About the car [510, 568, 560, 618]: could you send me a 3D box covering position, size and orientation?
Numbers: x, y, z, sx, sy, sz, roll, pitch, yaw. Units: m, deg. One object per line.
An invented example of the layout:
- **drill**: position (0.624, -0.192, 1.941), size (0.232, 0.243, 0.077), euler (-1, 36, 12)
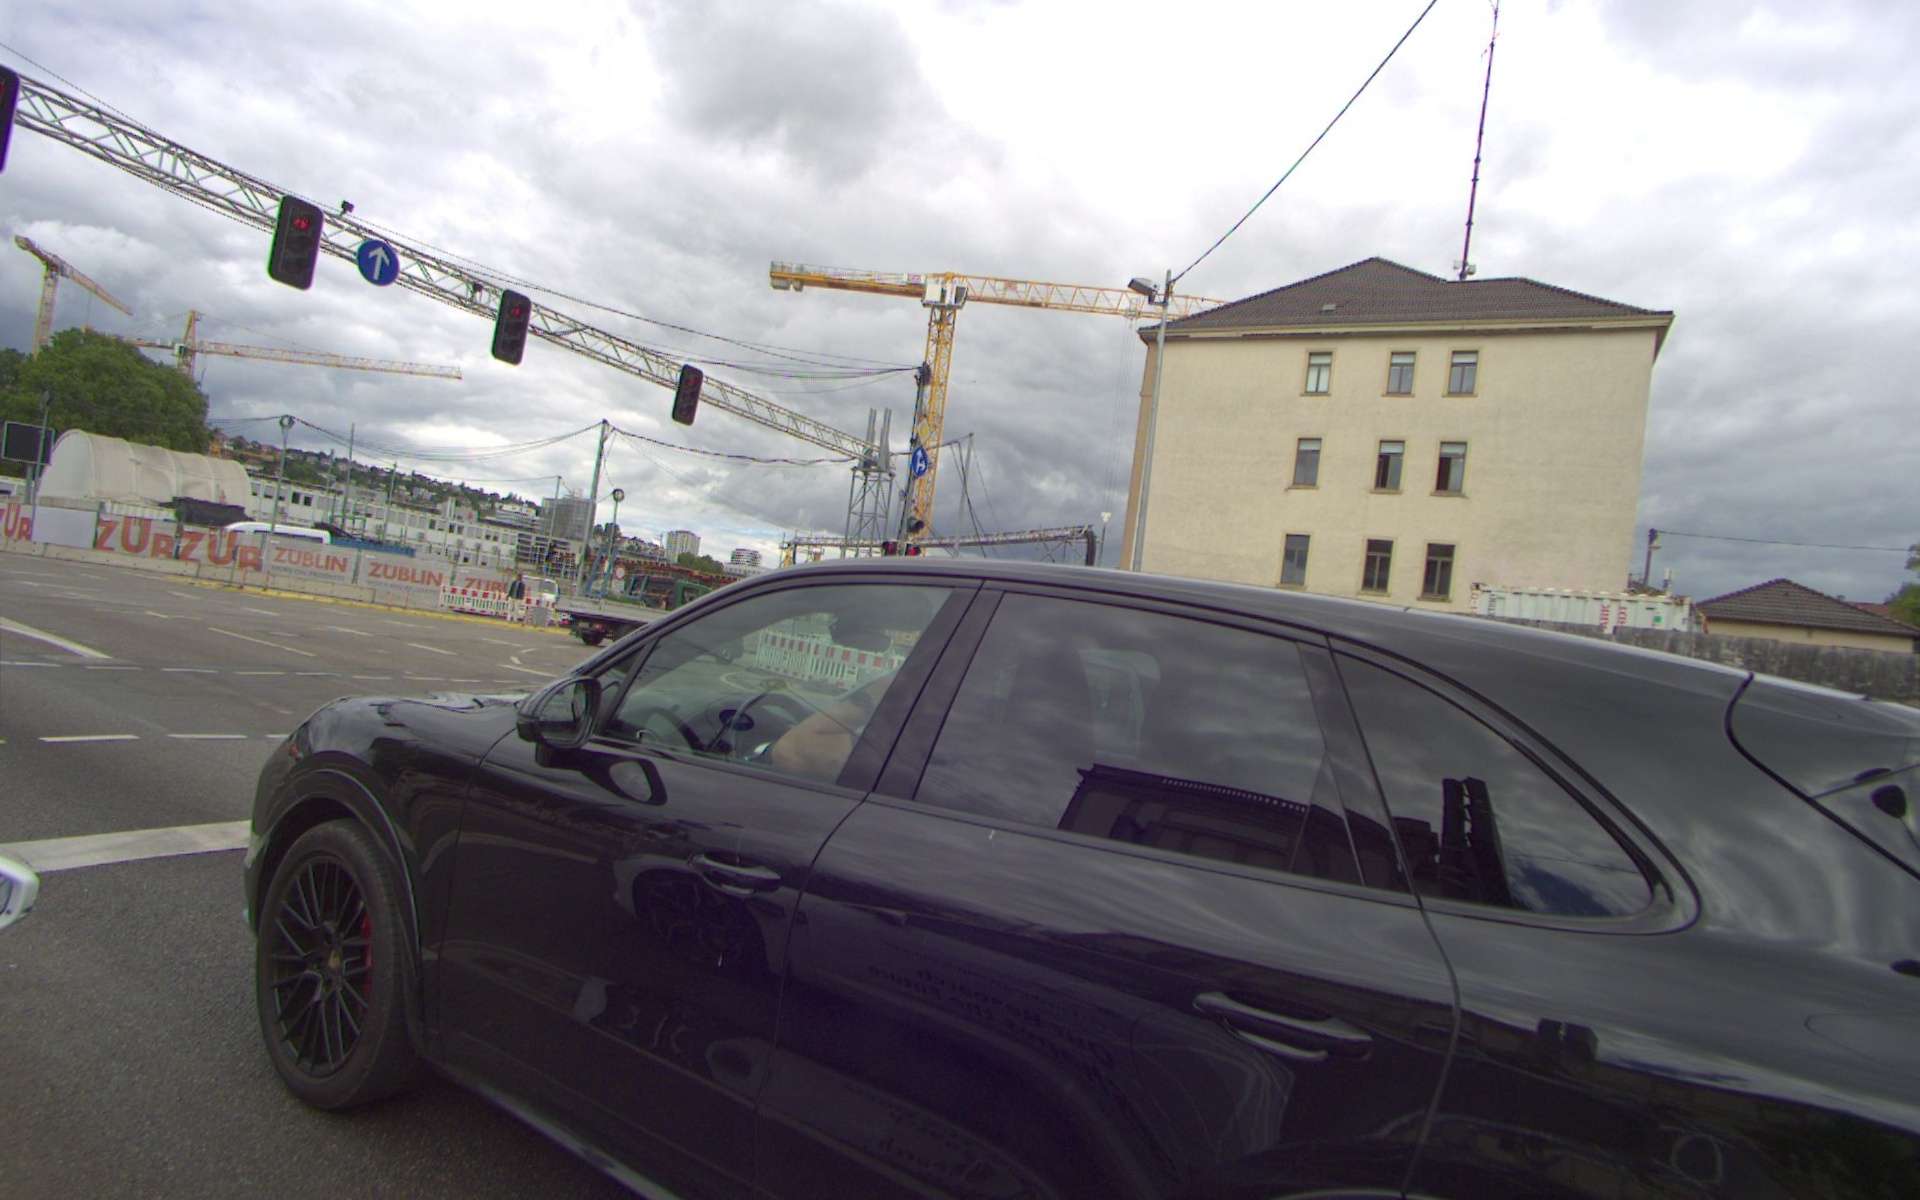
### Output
- **car**: position (-19.164, -0.322, 45.290), size (1.757, 1.976, 3.108), euler (8, -2, -25)

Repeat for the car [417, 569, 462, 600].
- **car**: position (-31.985, -0.949, 61.811), size (1.668, 1.545, 3.960), euler (8, -2, -37)

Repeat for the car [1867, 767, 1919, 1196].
- **car**: position (5.760, 1.702, 2.560), size (4.729, 1.644, 1.828), euler (6, -2, 32)

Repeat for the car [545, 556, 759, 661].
- **car**: position (-8.862, 0.346, 29.616), size (2.265, 2.331, 5.770), euler (6, -2, 32)

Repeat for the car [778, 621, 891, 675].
- **car**: position (-4.837, 1.931, 39.438), size (1.654, 1.643, 4.719), euler (6, -2, 32)

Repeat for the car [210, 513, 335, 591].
- **car**: position (-29.574, -2.043, 43.363), size (1.660, 2.692, 3.979), euler (6, -2, 45)

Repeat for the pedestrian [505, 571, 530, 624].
- **pedestrian**: position (-17.194, -0.098, 39.075), size (0.580, 1.999, 0.433), euler (8, -1, -17)

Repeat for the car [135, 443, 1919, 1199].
- **car**: position (-0.052, 0.678, 2.657), size (4.410, 1.735, 1.828), euler (6, -2, 32)

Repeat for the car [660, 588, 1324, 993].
- **car**: position (0.109, 0.998, 6.654), size (3.934, 1.644, 1.679), euler (6, -2, 32)

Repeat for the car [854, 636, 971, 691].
- **car**: position (-1.745, 2.498, 39.098), size (1.988, 1.643, 4.816), euler (6, -2, 33)

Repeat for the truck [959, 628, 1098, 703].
- **truck**: position (3.515, 3.293, 48.576), size (2.583, 2.835, 9.002), euler (7, -2, 31)
